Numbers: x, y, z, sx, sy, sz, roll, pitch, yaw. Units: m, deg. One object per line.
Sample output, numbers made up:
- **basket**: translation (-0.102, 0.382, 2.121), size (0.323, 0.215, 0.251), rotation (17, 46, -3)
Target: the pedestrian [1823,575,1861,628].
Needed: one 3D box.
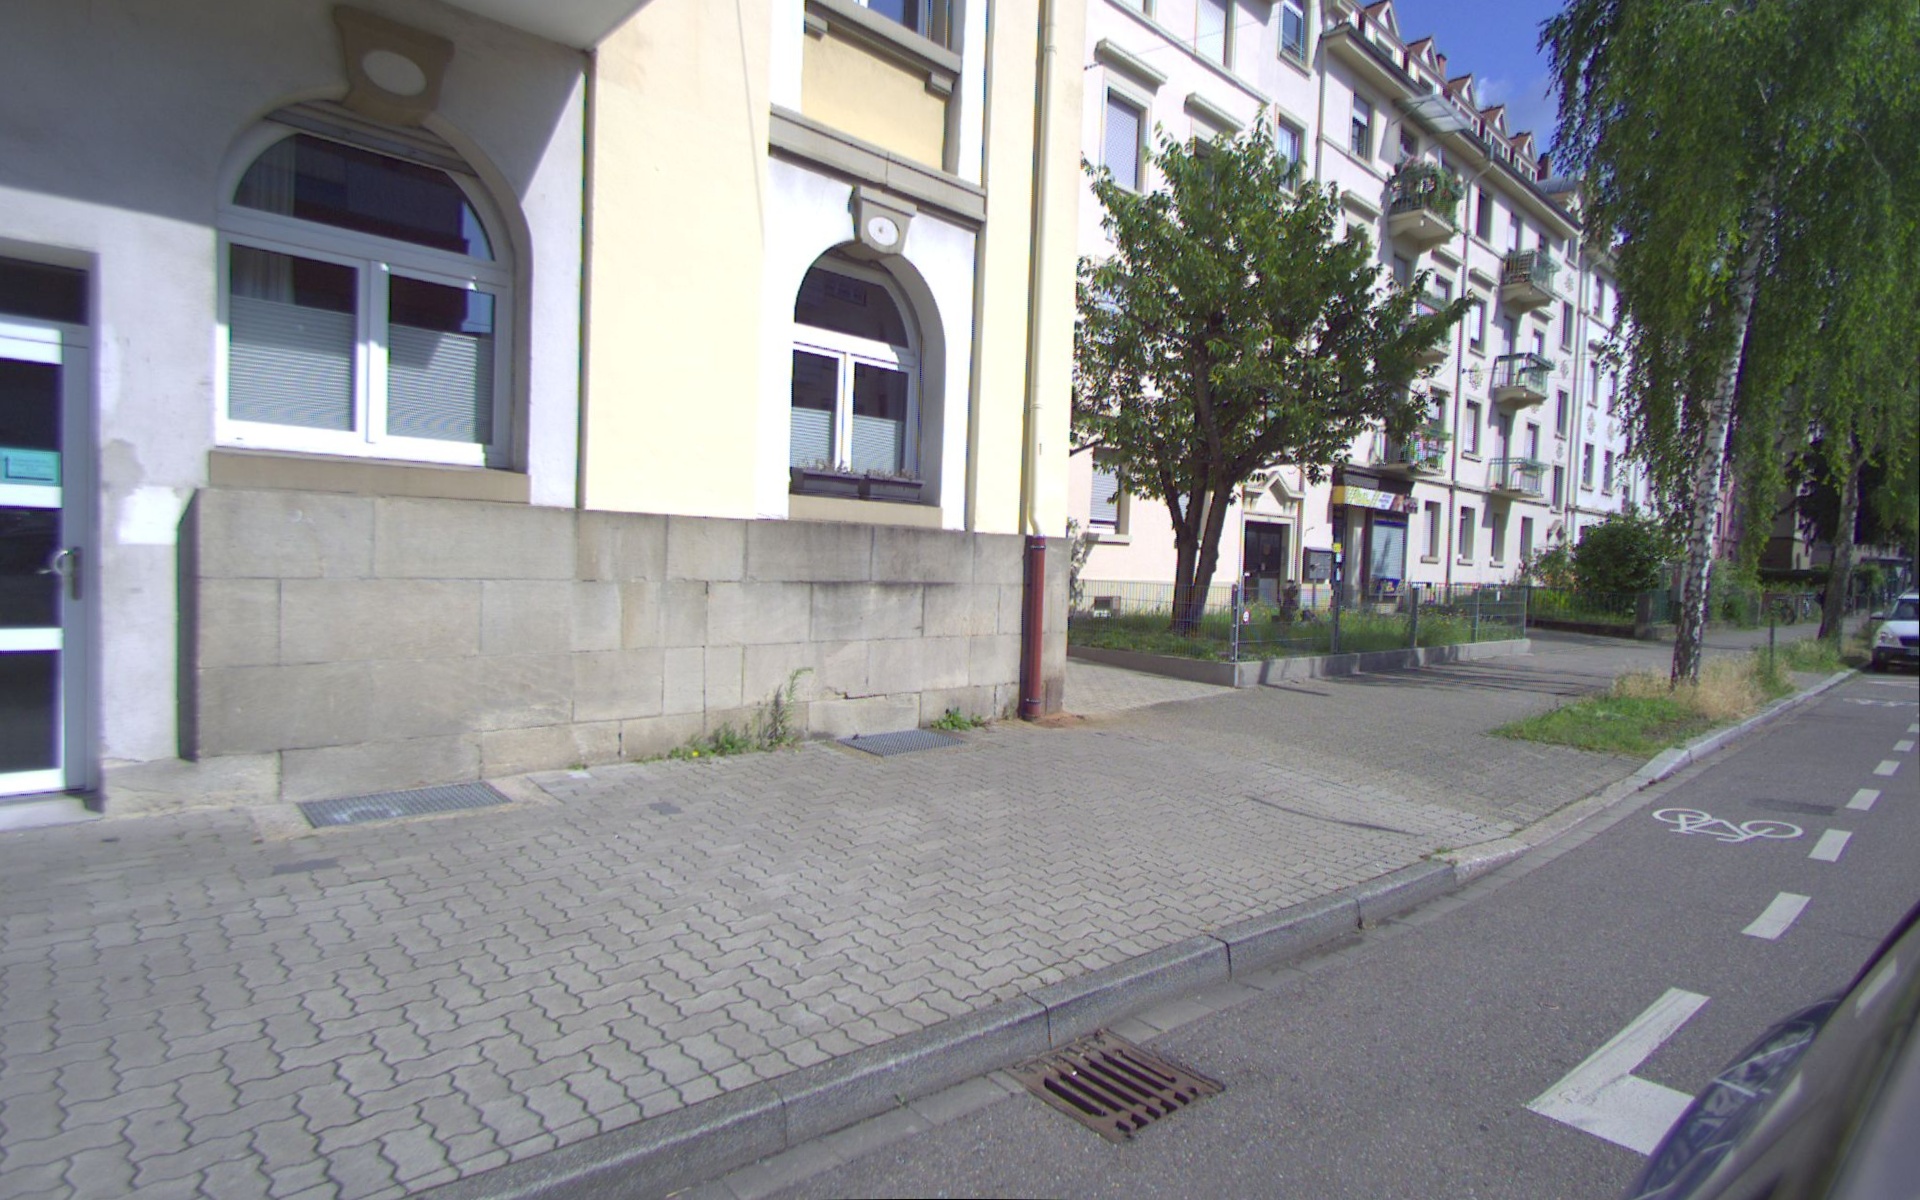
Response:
- **pedestrian**: translation (29.606, 0.045, 33.962), size (0.678, 1.703, 0.732), rotation (1, 5, -40)

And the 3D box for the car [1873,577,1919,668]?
- **car**: translation (19.155, 0.405, 19.570), size (3.929, 1.650, 1.724), rotation (0, 1, -40)

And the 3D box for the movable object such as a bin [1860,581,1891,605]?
- **movable object such as a bin**: translation (61.763, -0.466, 68.268), size (1.966, 1.510, 1.304), rotation (0, 3, -42)

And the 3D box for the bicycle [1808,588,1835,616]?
- **bicycle**: translation (34.847, 0.072, 40.929), size (2.145, 1.090, 0.472), rotation (0, 3, -42)
